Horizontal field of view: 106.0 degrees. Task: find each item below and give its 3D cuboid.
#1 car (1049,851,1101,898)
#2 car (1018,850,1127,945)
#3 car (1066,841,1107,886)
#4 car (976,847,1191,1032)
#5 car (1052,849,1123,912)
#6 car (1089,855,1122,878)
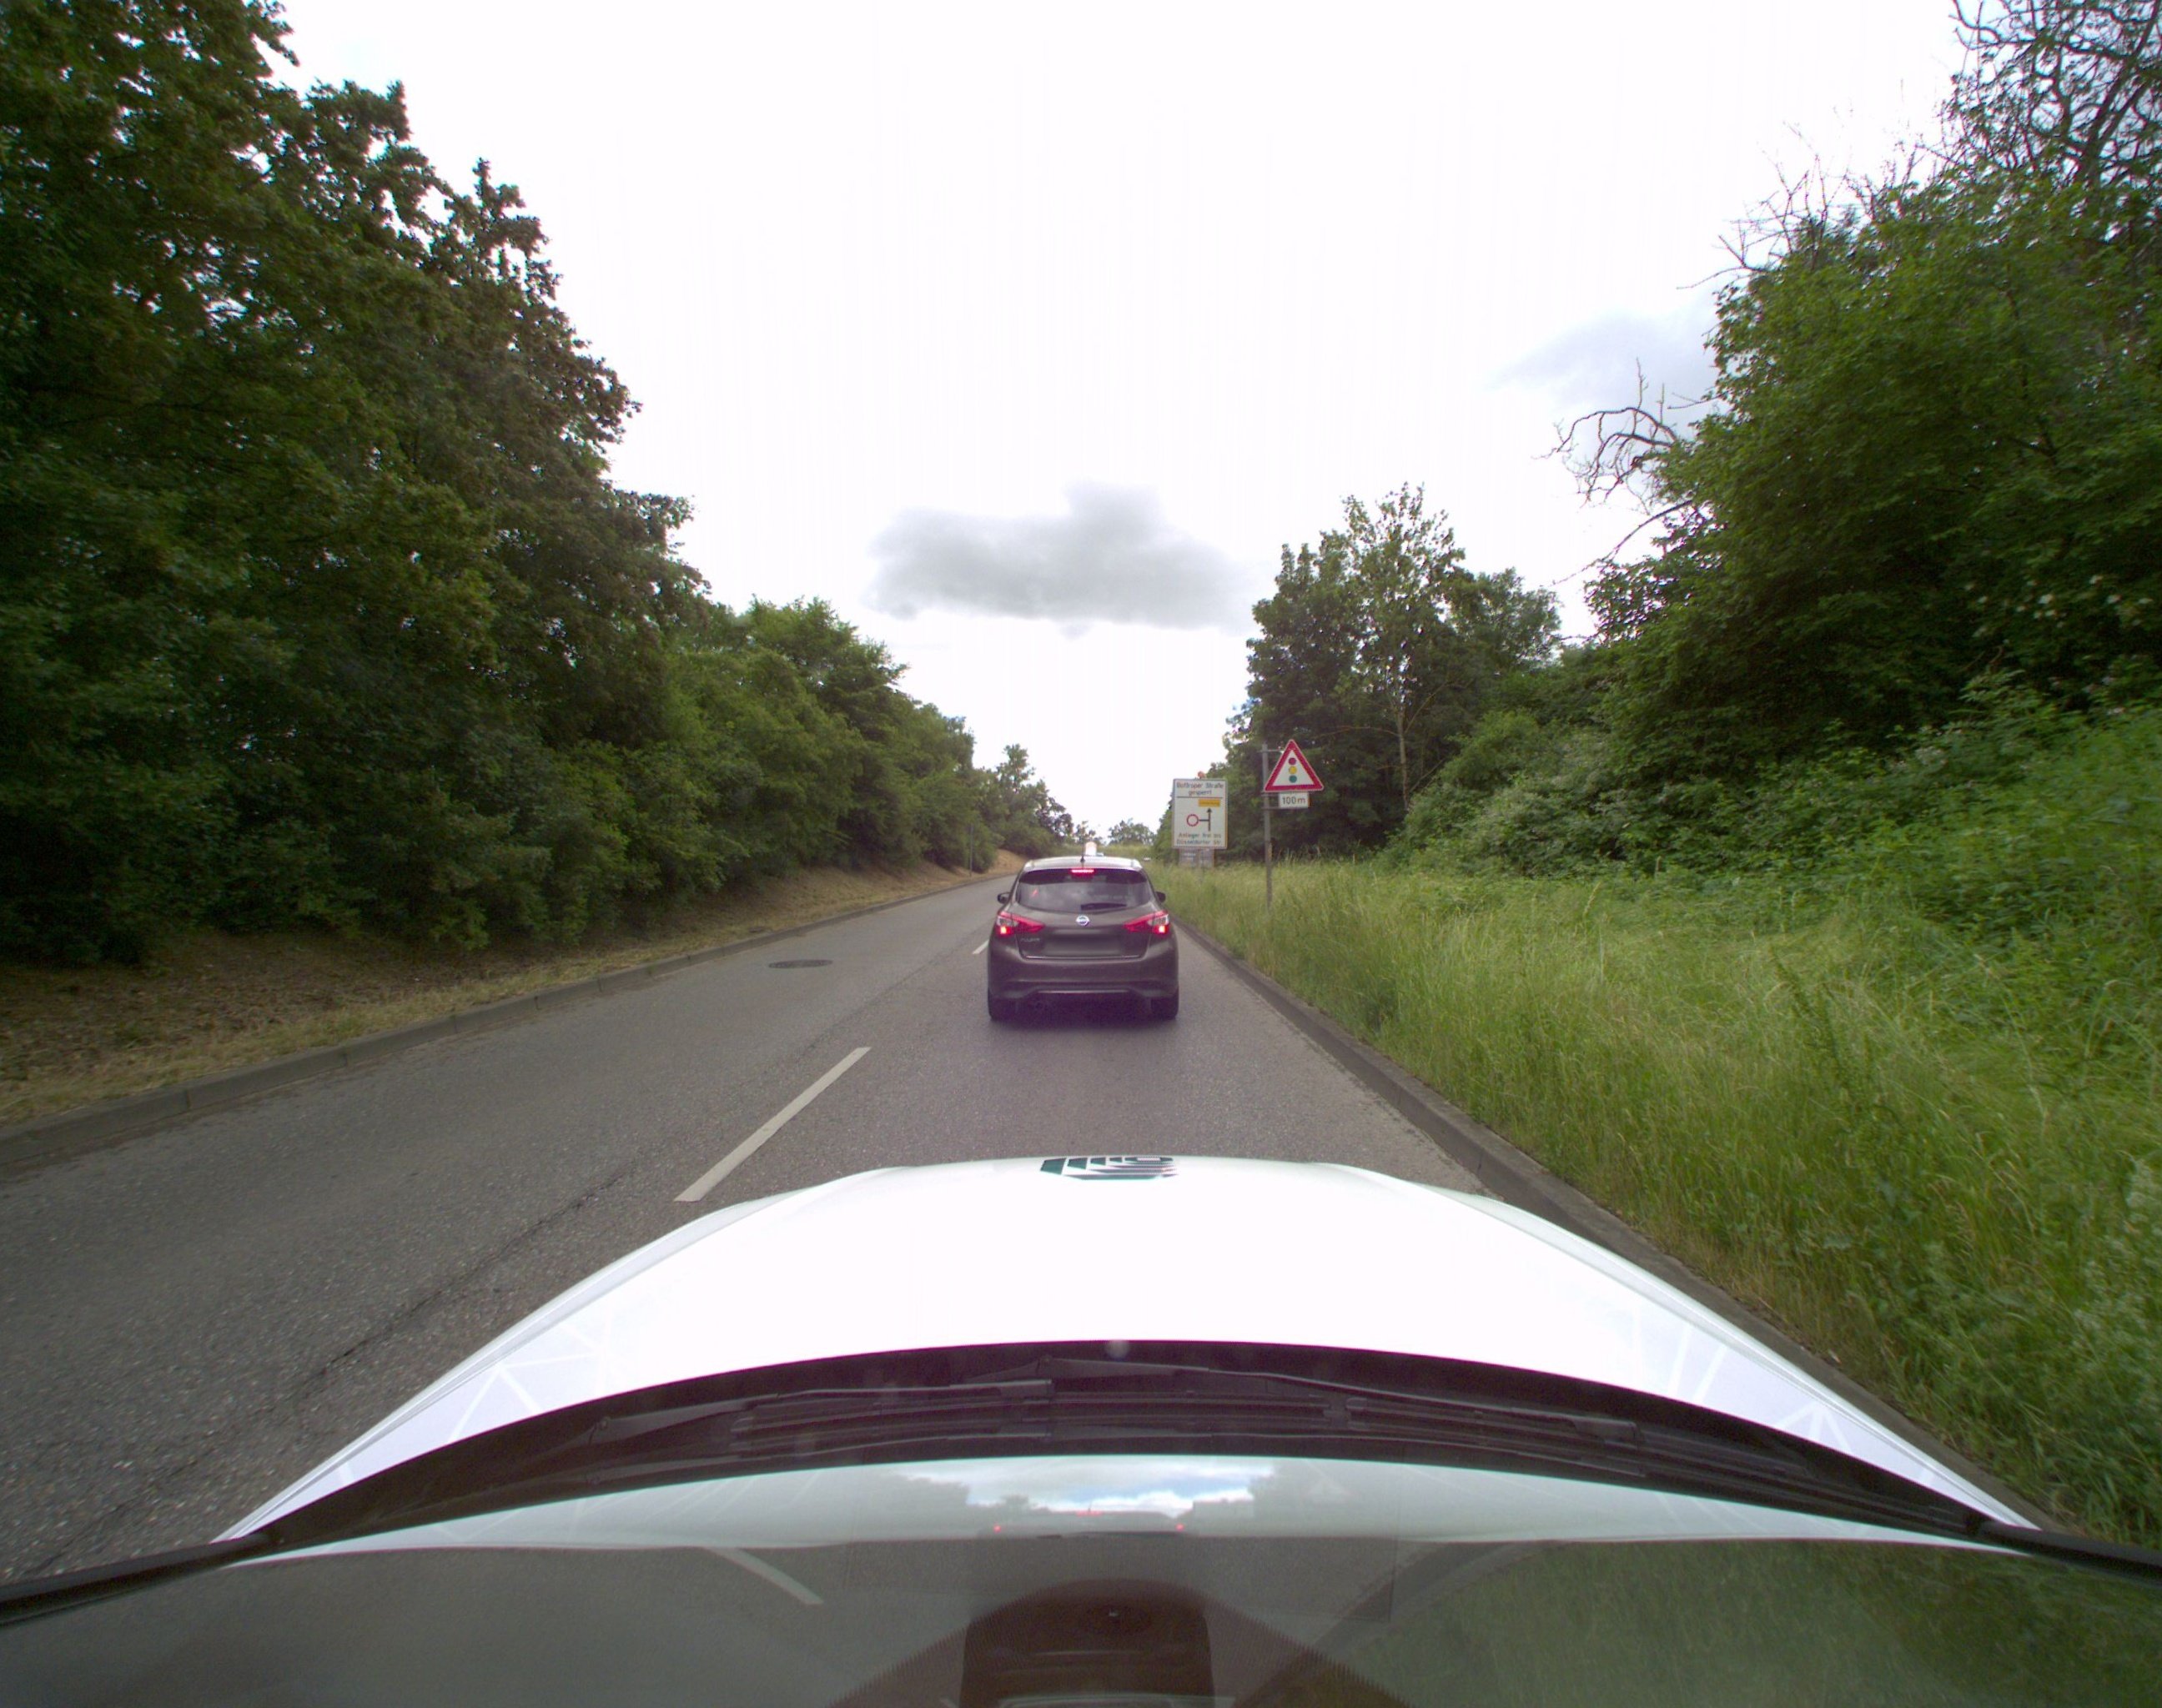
[{"bbox_3d":[-0.165,0.699,29.821,1.729,1.556,3.545,-1,0,2],"label":"car"},{"bbox_3d":[-0.090,0.734,15.633,1.823,1.556,3.626,-1,0,2],"label":"car"},{"bbox_3d":[0.295,0.414,37.088,1.729,1.935,3.545,-1,0,2],"label":"car"},{"bbox_3d":[0.015,0.726,8.708,1.824,1.556,3.498,-1,0,0],"label":"car"},{"bbox_3d":[0.219,0.665,22.194,1.729,1.556,3.545,-1,0,2],"label":"car"},{"bbox_3d":[1.794,0.893,57.762,1.725,1.526,3.652,-1,0,11],"label":"car"}]
